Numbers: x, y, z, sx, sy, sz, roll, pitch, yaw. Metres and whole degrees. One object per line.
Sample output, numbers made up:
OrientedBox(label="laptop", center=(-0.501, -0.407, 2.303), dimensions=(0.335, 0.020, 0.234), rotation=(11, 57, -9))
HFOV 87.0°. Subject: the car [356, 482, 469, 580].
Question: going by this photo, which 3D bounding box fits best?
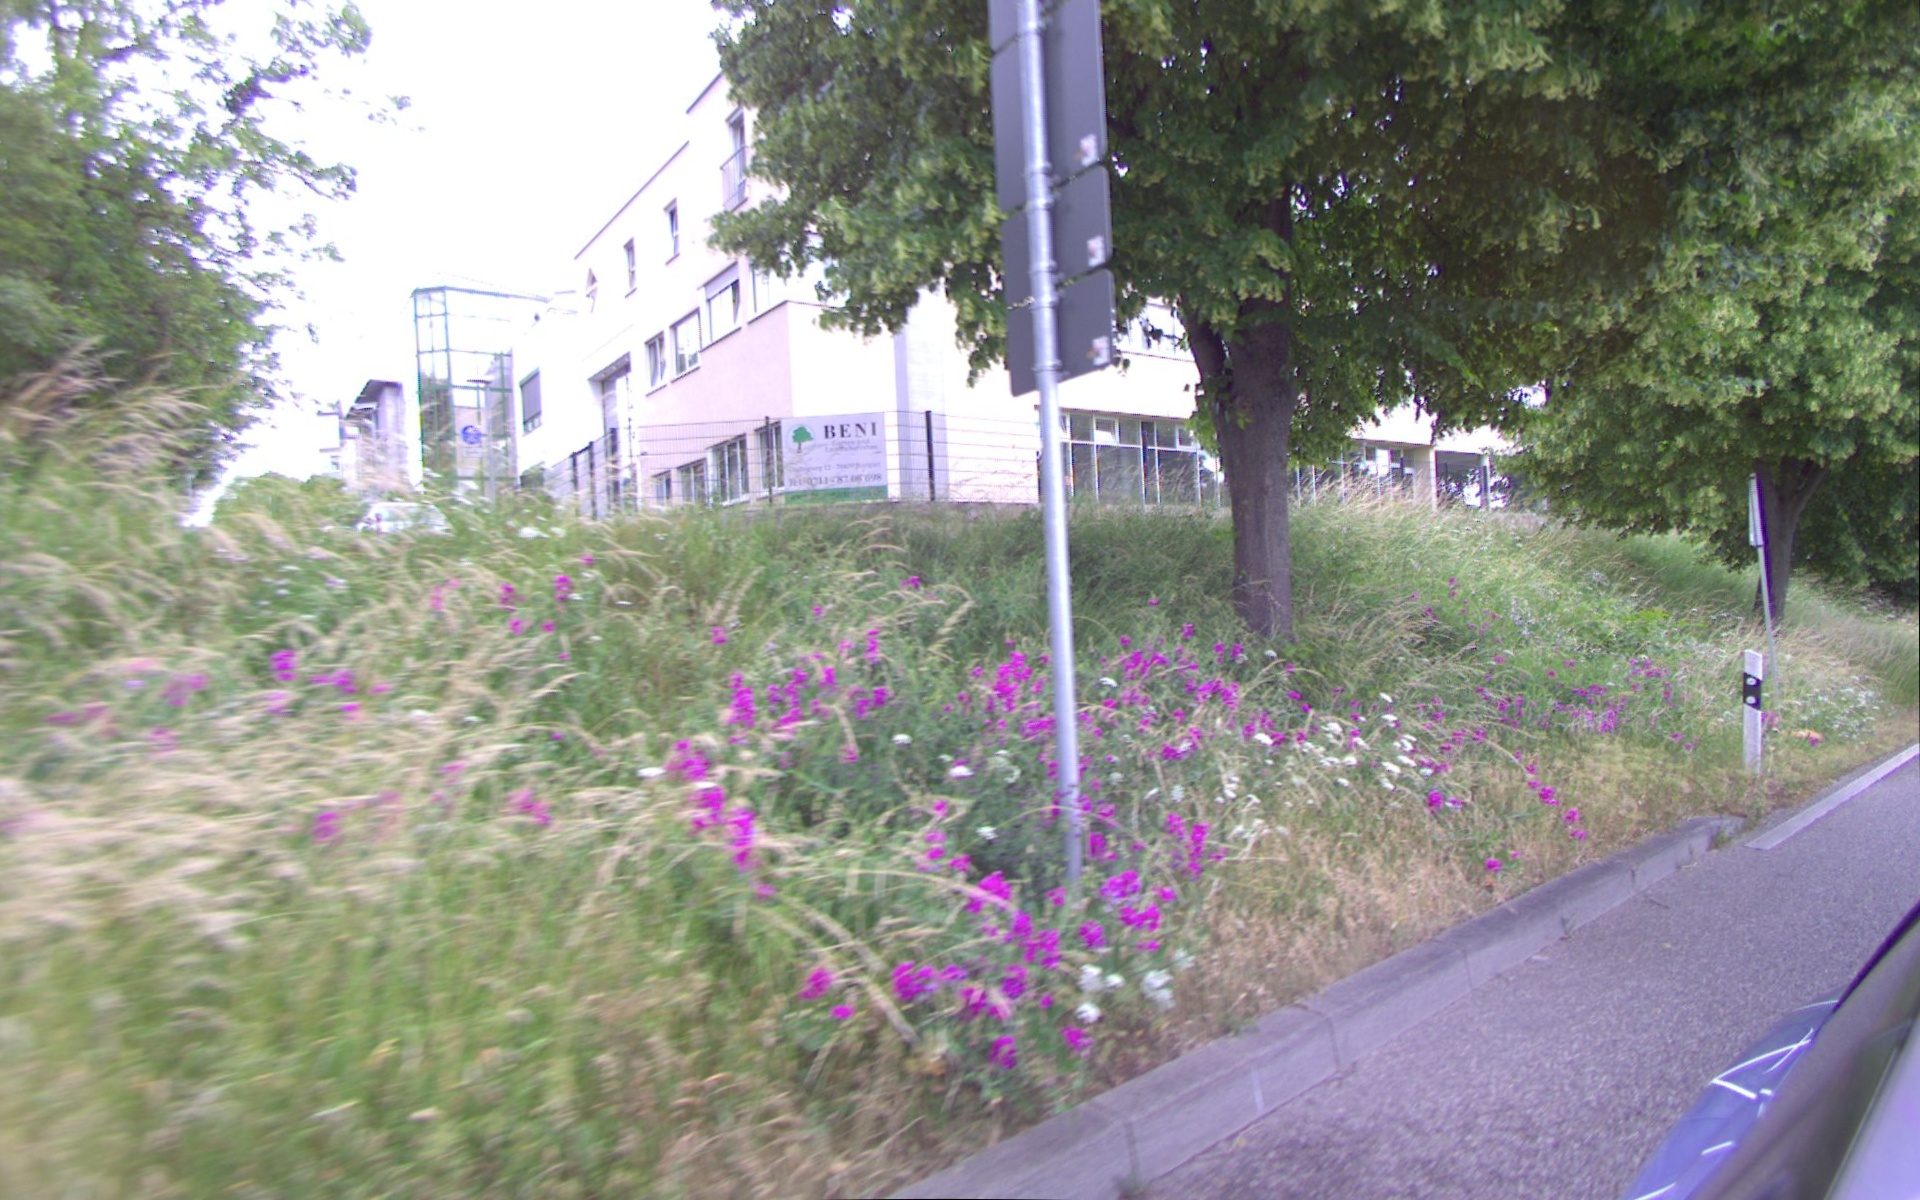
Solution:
OrientedBox(label="car", center=(-10.150, -1.185, 18.655), dimensions=(1.547, 1.529, 3.370), rotation=(-1, 0, -33))
